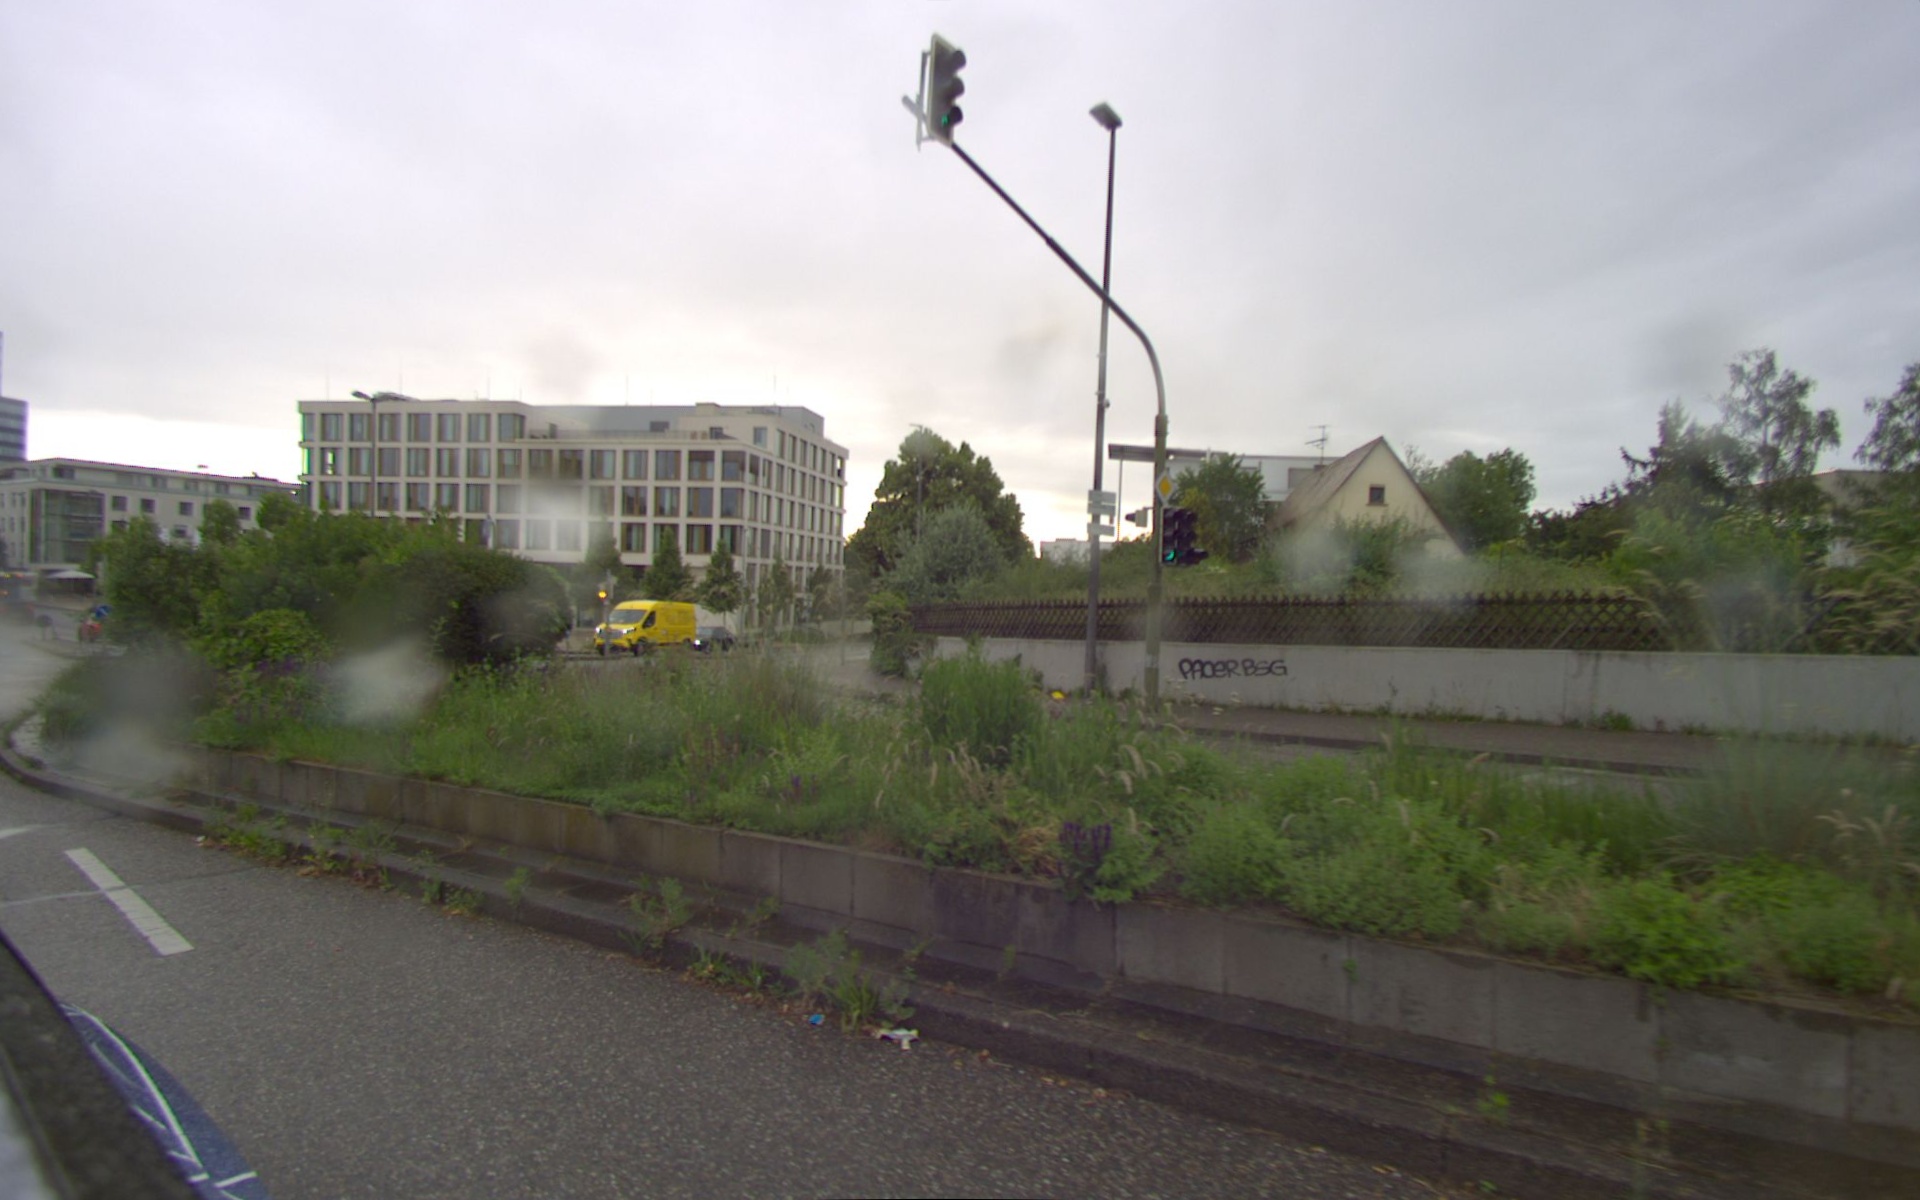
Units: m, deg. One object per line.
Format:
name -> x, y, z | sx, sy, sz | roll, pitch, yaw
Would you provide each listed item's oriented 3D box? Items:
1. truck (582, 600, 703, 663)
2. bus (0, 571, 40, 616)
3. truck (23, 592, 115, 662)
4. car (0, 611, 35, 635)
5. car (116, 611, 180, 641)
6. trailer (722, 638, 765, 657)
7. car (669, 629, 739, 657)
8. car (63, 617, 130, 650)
truck -> -14.036, 1.436, 45.234 | 2.207, 2.557, 6.146 | 1, -2, 14
bus -> -94.525, -0.628, 97.543 | 18.151, 4.025, 2.924 | 1, -2, 29
truck -> -33.902, 0.963, 38.428 | 6.202, 2.458, 2.139 | 0, 0, 44
car -> -62.813, 1.499, 67.074 | 4.075, 1.564, 1.882 | -1, -2, 43
car -> -43.680, 1.382, 54.435 | 4.294, 1.489, 1.929 | 0, -3, 42
trailer -> -12.175, 2.659, 57.001 | 1.591, 0.986, 2.278 | 1, -2, 11
car -> -13.219, 2.245, 52.529 | 1.845, 1.327, 4.341 | 1, -2, 10
car -> -41.627, 1.590, 48.769 | 4.431, 1.424, 1.971 | 0, -1, 43
